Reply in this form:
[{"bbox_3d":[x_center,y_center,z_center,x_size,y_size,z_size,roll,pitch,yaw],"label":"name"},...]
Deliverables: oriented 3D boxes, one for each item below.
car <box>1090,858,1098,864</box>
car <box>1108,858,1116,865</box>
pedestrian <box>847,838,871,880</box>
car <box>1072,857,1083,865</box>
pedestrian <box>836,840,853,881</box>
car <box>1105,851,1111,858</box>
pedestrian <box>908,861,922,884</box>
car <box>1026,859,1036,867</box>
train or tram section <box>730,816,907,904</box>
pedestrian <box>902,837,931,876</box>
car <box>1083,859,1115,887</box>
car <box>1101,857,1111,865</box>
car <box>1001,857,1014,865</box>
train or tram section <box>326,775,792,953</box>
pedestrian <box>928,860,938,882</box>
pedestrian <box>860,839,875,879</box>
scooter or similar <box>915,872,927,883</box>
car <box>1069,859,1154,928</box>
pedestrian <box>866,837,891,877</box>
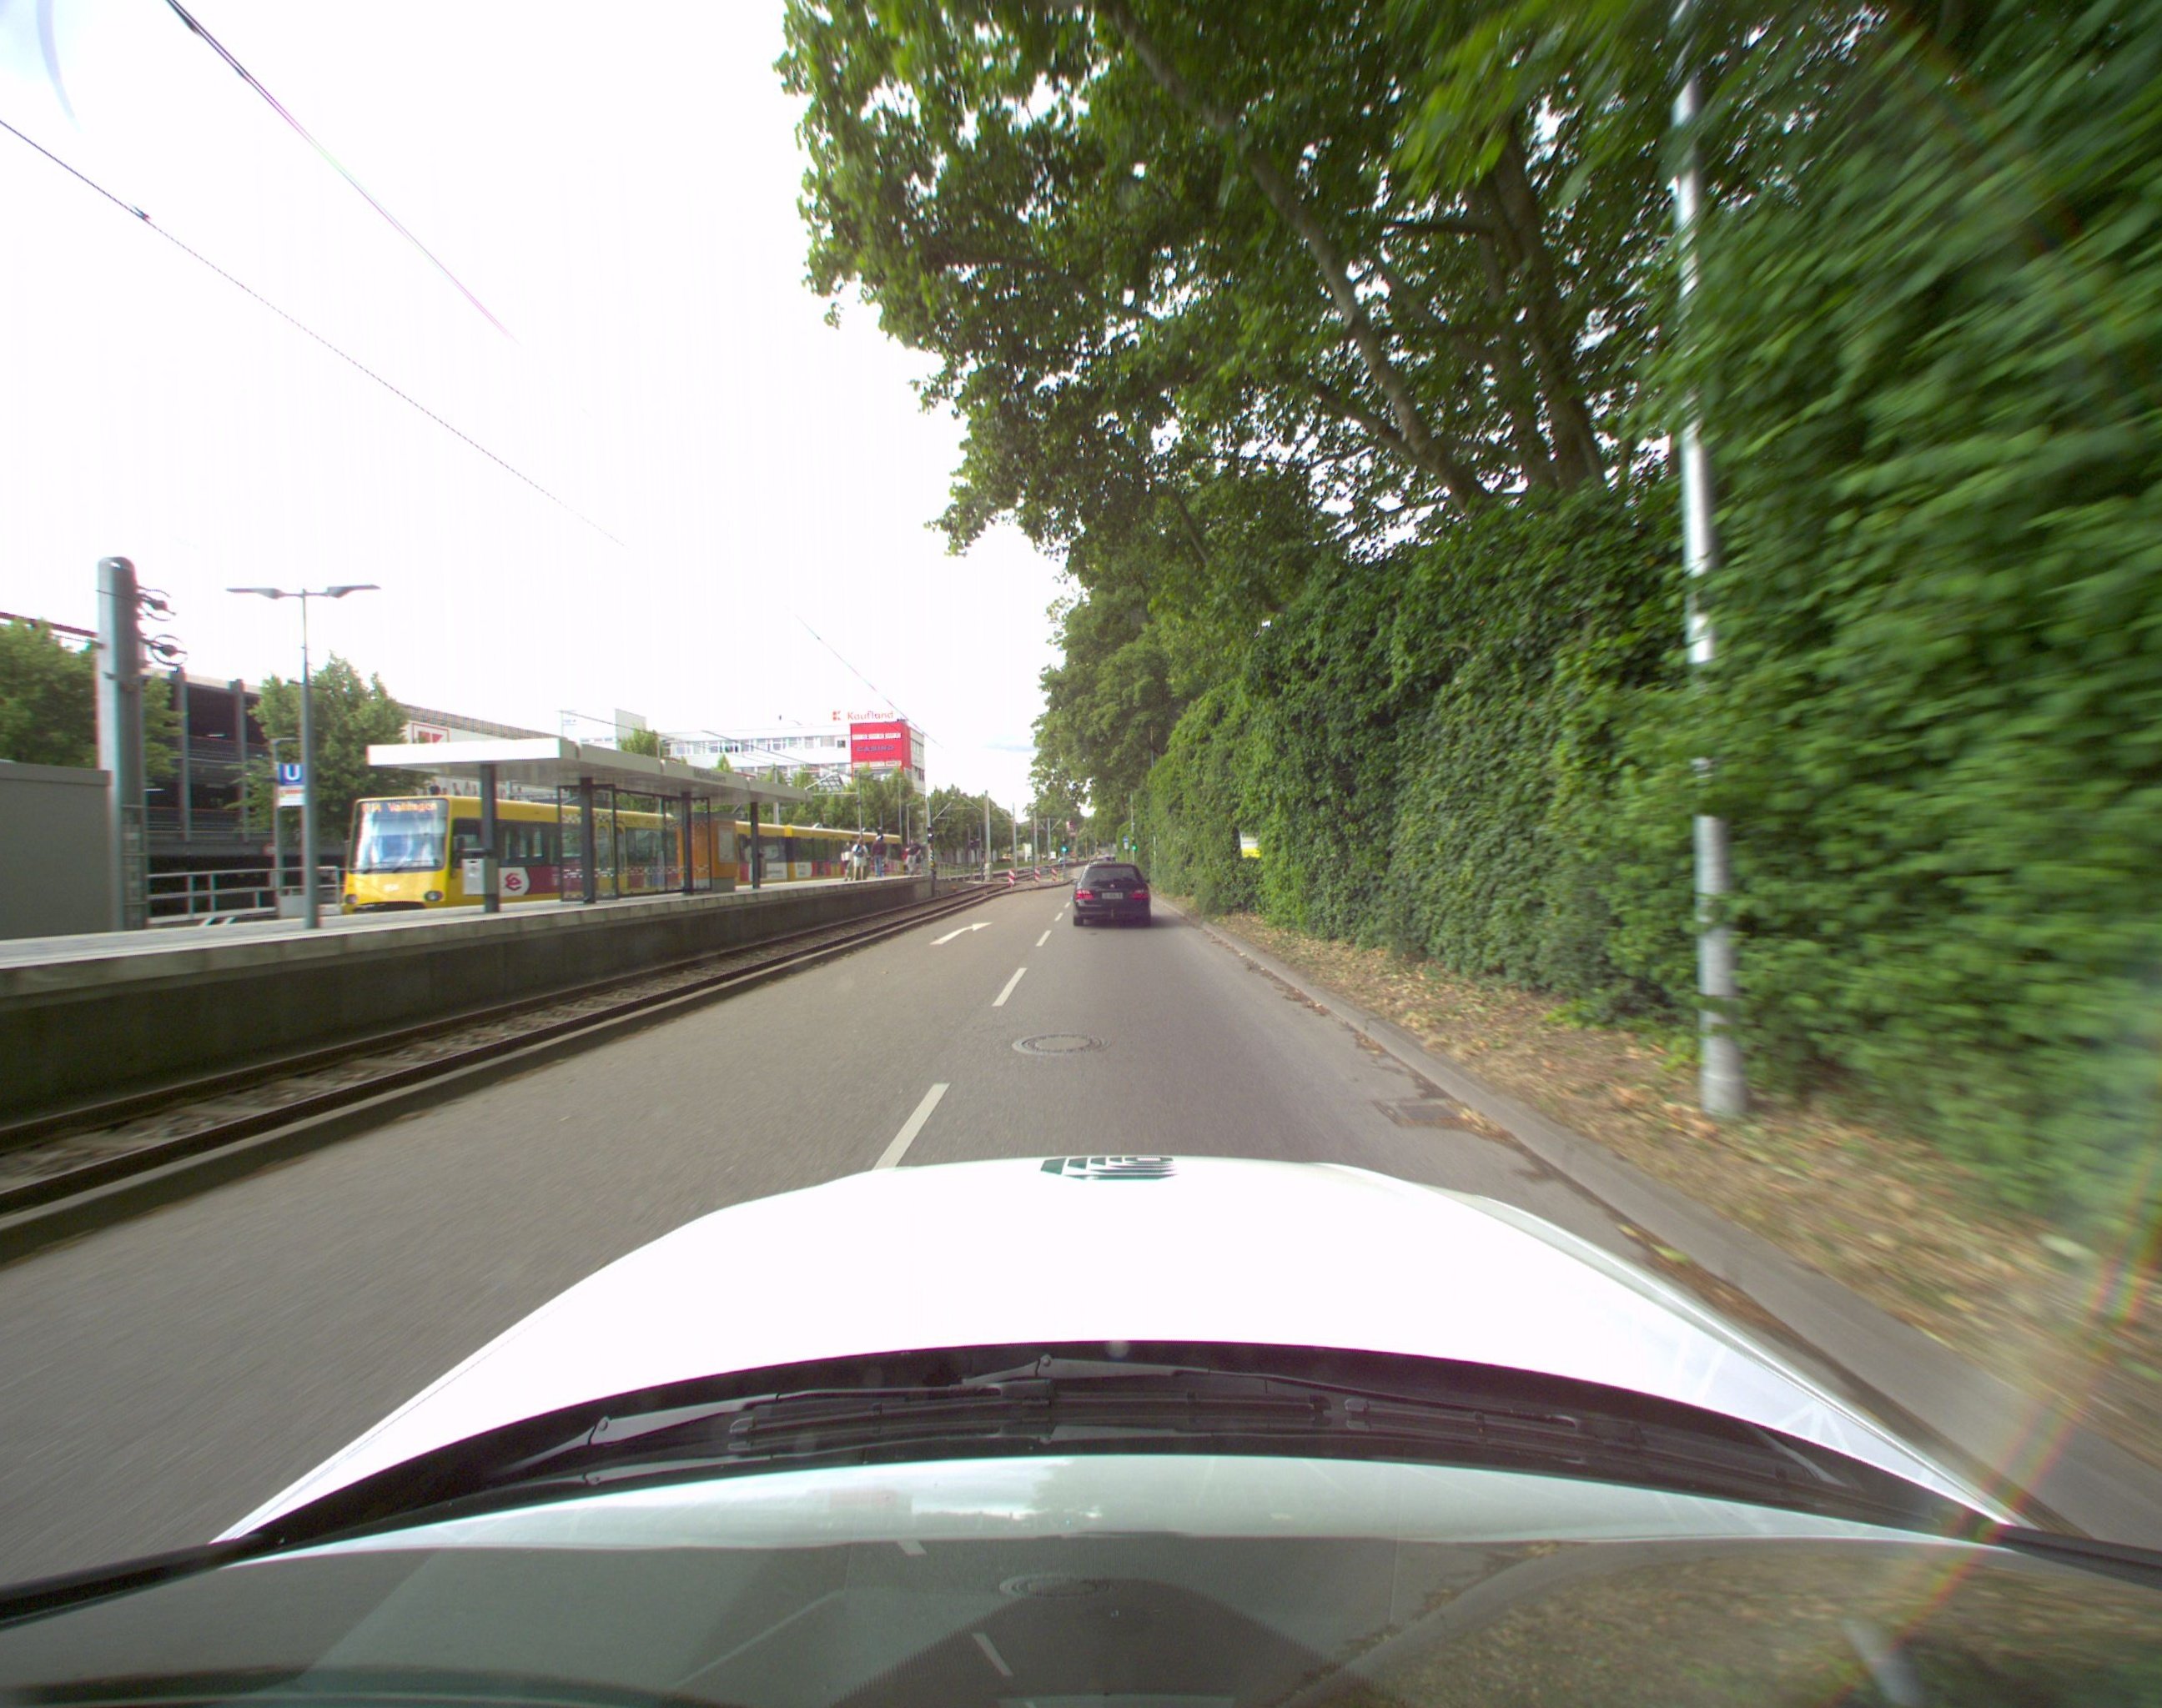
[{"bbox_3d":[3.370,1.718,207.008,1.817,1.530,3.989,-1,0,3],"label":"car"},{"bbox_3d":[7.065,1.653,185.381,1.817,1.530,3.931,-1,0,3],"label":"car"},{"bbox_3d":[-7.991,0.168,29.336,0.514,1.482,0.585,-4,-1,39],"label":"pedestrian"},{"bbox_3d":[-0.669,1.461,162.824,1.817,1.530,3.931,-1,0,3],"label":"car"},{"bbox_3d":[-8.740,0.242,30.102,0.476,1.483,0.540,-3,-1,-12],"label":"pedestrian"},{"bbox_3d":[8.305,0.260,251.602,1.884,2.013,3.899,-3,-1,2],"label":"car"},{"bbox_3d":[-12.666,1.420,62.155,0.607,1.654,0.800,-4,-1,23],"label":"pedestrian"},{"bbox_3d":[-13.323,2.312,217.313,1.986,2.013,4.001,-3,-1,1],"label":"car"},{"bbox_3d":[-13.976,0.268,46.446,2.744,3.828,18.649,-4,0,4],"label":"train or tram section"},{"bbox_3d":[-7.242,0.113,35.823,0.881,1.678,0.736,-3,-1,-45],"label":"pedestrian"},{"bbox_3d":[1.083,1.078,48.514,1.819,1.530,4.417,-1,0,1],"label":"car"},{"bbox_3d":[5.016,1.363,164.924,1.817,1.530,4.419,-2,0,3],"label":"car"},{"bbox_3d":[-16.821,1.616,187.284,1.984,1.743,4.995,-3,0,6],"label":"car"},{"bbox_3d":[-15.148,0.261,27.761,2.745,3.882,18.647,-3,0,3],"label":"train or tram section"},{"bbox_3d":[-11.337,1.319,62.523,0.513,1.662,0.467,-3,-1,12],"label":"pedestrian"},{"bbox_3d":[-7.982,0.200,30.463,0.359,1.464,0.639,-2,-1,1],"label":"pedestrian"},{"bbox_3d":[-12.130,1.810,61.935,0.491,0.768,0.803,-4,-1,23],"label":"scooter or similar"},{"bbox_3d":[0.760,0.876,19.949,1.826,1.478,4.418,-1,0,2],"label":"car"},{"bbox_3d":[-8.611,0.132,34.694,0.768,1.678,0.791,-3,-1,1],"label":"pedestrian"}]
